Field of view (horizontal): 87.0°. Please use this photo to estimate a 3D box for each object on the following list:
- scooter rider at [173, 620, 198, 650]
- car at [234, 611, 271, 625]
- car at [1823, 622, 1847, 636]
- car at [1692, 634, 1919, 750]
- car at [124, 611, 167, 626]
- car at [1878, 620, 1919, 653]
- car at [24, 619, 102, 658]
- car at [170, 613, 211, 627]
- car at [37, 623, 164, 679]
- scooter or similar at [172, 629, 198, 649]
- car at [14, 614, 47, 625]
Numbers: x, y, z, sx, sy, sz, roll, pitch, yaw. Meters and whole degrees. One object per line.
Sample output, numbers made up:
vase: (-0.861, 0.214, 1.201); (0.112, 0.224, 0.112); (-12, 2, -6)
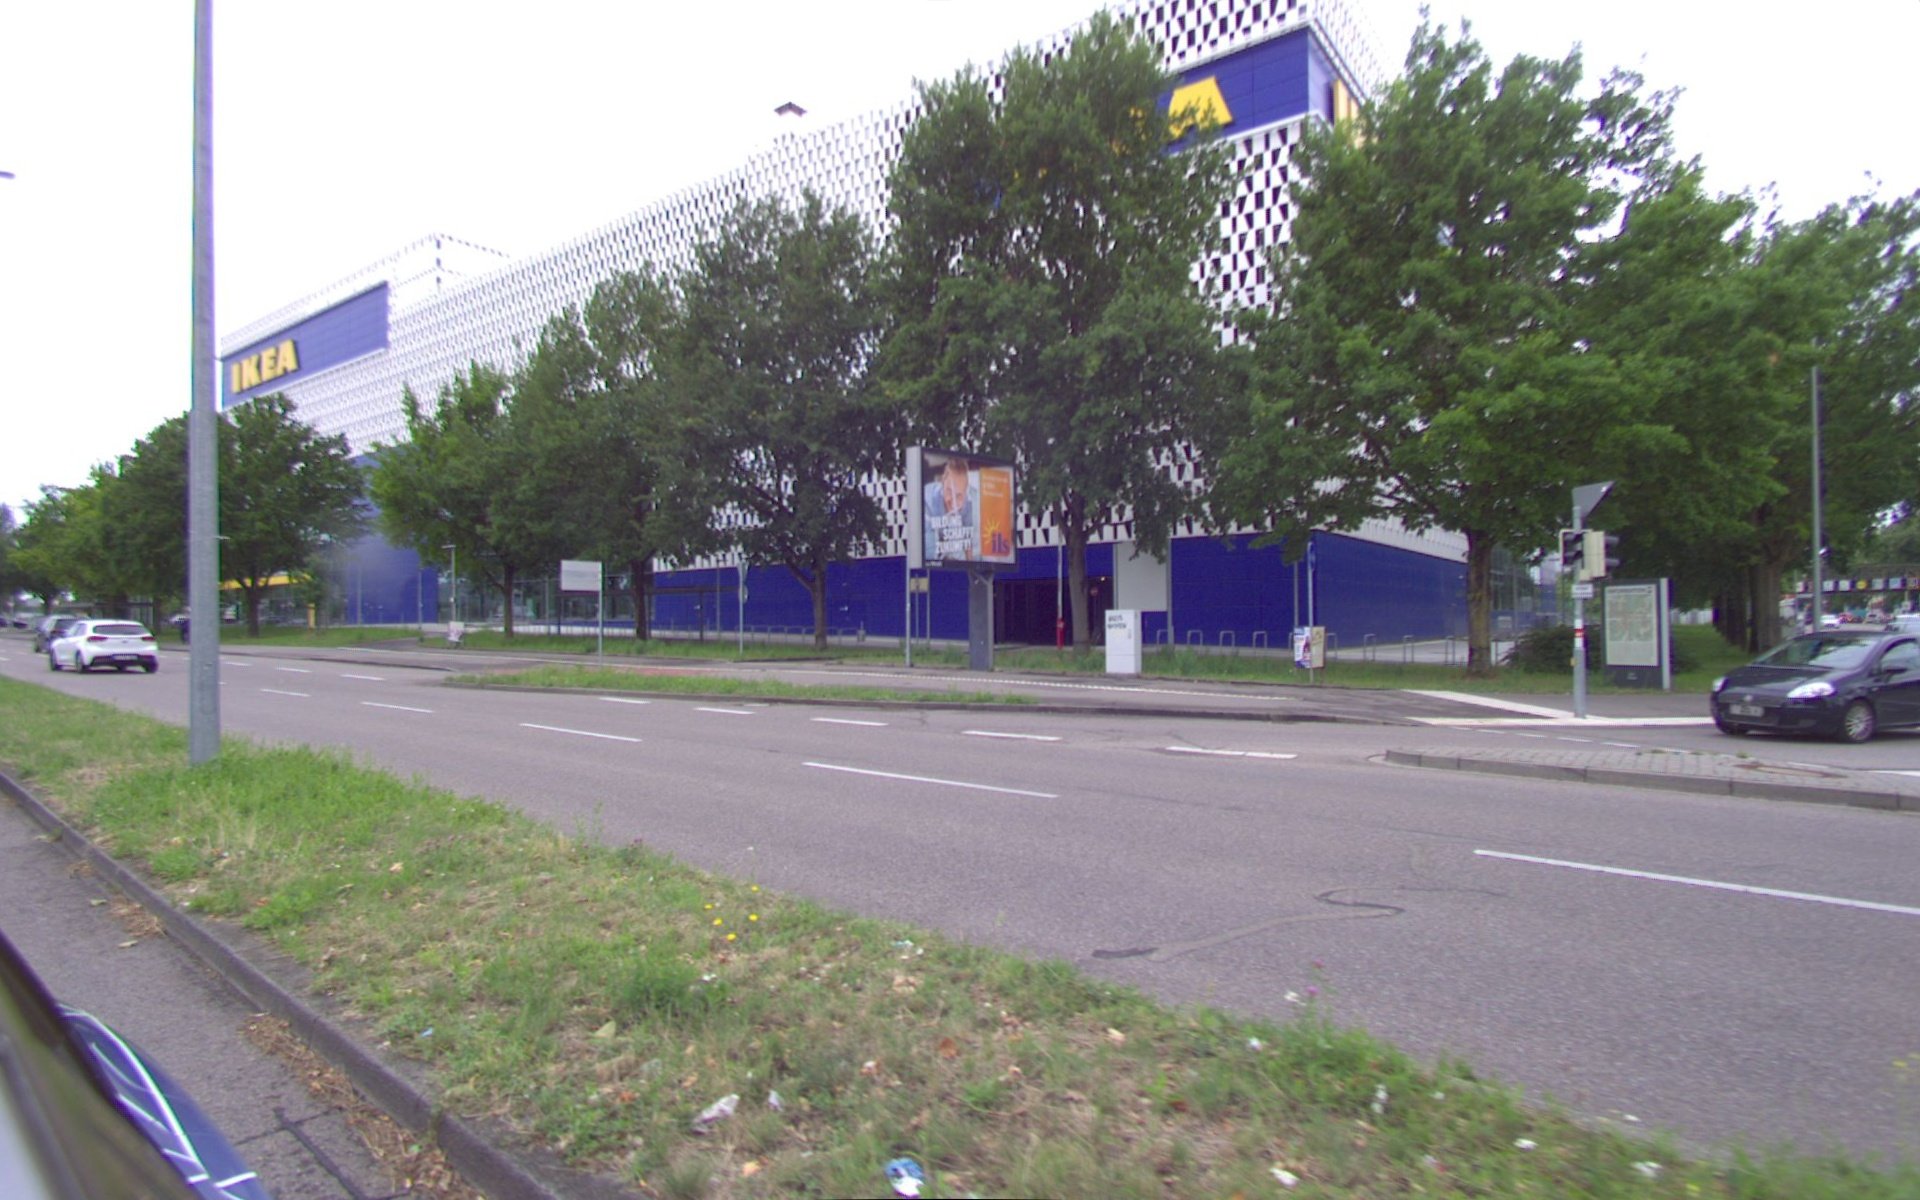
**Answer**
scooter rider: (-46.081, 2.064, 60.217); (1.033, 1.733, 0.791); (-1, 0, 23)
car: (-101.901, 2.611, 145.751); (1.994, 1.829, 3.957); (-1, 1, 32)
car: (97.046, 3.211, 112.296); (1.862, 1.473, 4.273); (-4, -2, 40)
car: (12.220, 1.165, 13.771); (3.931, 1.382, 1.732); (0, -3, -21)
car: (-94.616, 2.116, 117.581); (1.740, 1.652, 3.523); (-1, 1, 36)
car: (45.454, 1.749, 48.584); (1.700, 1.499, 4.065); (-3, -3, 38)
car: (-40.321, 1.708, 45.450); (4.355, 1.668, 1.825); (-1, -3, 38)
car: (-105.988, 2.779, 139.419); (1.994, 1.829, 3.957); (-1, 1, 32)
car: (-24.047, 1.387, 28.286); (3.924, 1.463, 1.766); (-1, -2, 35)
scooter or similar: (-46.117, 2.324, 60.234); (1.417, 1.134, 0.585); (-1, 3, 24)
car: (-170.421, 3.521, 185.513); (1.740, 1.837, 4.240); (-1, 1, 36)
